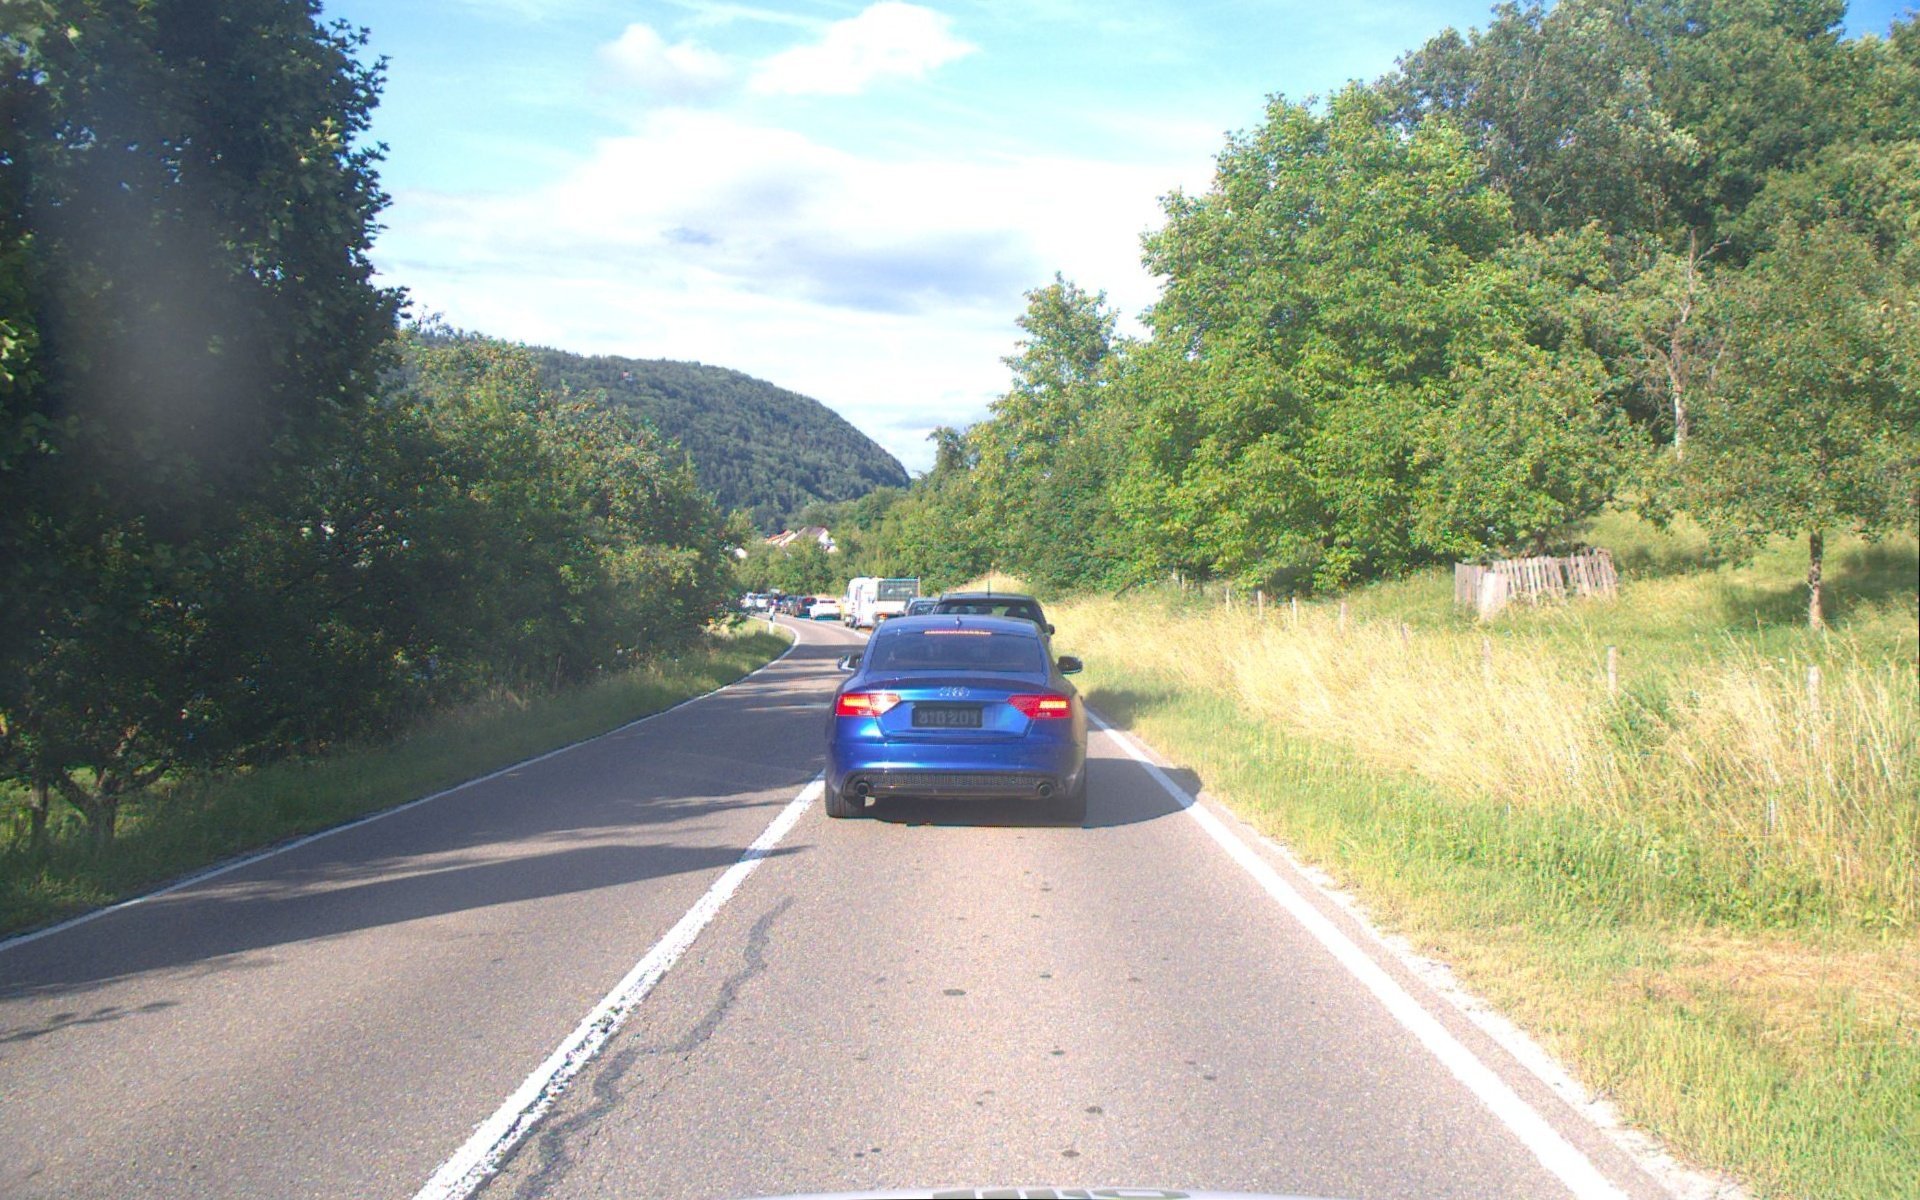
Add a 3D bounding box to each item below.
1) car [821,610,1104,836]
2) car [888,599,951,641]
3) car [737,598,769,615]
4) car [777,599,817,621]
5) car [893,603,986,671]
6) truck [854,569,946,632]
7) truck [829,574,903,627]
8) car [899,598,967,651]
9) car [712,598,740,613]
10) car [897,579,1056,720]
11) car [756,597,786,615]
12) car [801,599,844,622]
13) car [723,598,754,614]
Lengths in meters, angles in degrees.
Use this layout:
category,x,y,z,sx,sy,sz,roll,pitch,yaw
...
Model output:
category,x,y,z,sx,sy,sz,roll,pitch,yaw
car,0.061,0.782,12.358,1.756,1.383,4.001,1,0,1
car,-1.538,0.734,61.628,1.955,1.508,3.994,1,-1,-7
car,-18.688,0.572,149.362,1.965,1.508,3.974,1,-1,-22
car,-11.834,0.705,119.807,1.964,1.508,3.977,1,-1,-20
car,-0.412,0.804,37.071,1.952,1.411,4.000,1,-1,0
truck,-2.929,0.030,77.053,2.812,2.712,10.367,1,0,-10
truck,-5.318,0.016,91.369,2.812,2.712,10.618,1,0,-10
car,-0.772,0.732,50.168,1.952,1.508,4.000,1,-1,0
car,-23.776,0.572,167.827,1.965,1.508,3.974,1,-1,-22
car,0.224,0.637,22.613,1.952,1.732,4.000,1,-1,0
car,-16.093,0.502,140.856,1.961,1.508,3.983,1,-1,-16
car,-9.376,0.695,112.379,1.964,1.508,3.977,1,-1,-20
car,-20.878,0.579,156.004,1.965,1.508,3.974,1,-1,-22
